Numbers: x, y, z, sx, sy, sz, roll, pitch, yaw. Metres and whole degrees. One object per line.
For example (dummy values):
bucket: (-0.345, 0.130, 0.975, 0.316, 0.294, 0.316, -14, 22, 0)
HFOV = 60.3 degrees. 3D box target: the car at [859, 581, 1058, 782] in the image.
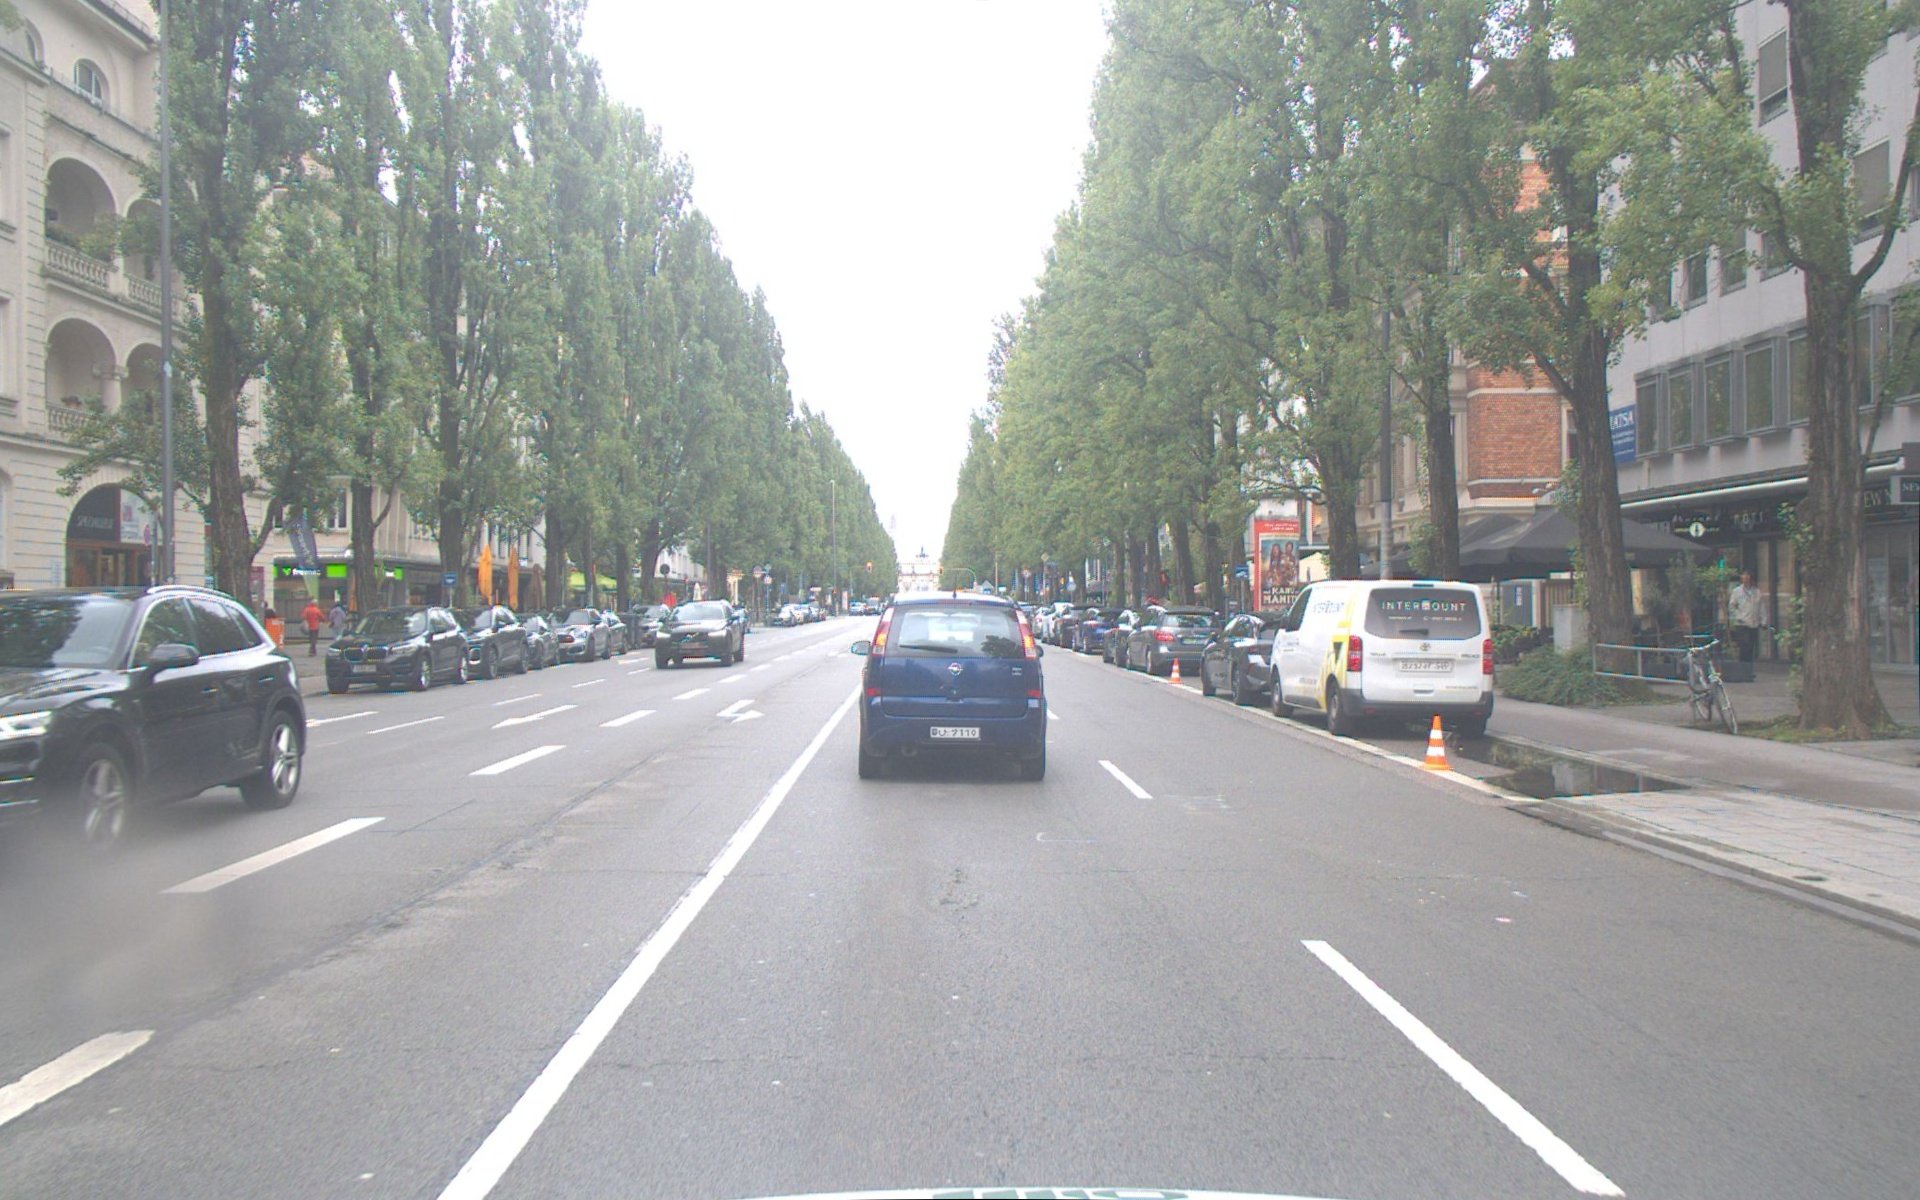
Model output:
car: (-0.086, 0.682, 15.814, 1.647, 1.670, 3.998, 0, 0, -2)

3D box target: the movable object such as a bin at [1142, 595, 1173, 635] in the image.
movable object such as a bin: (8.575, 0.642, 71.993, 1.013, 1.733, 1.585, -1, 0, -5)

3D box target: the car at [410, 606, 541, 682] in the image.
car: (-11.304, 0.986, 38.879, 1.766, 1.622, 4.629, -1, 0, -1)

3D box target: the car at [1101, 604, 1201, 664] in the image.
car: (4.914, 0.852, 43.208, 1.841, 1.457, 4.802, -1, 0, -3)

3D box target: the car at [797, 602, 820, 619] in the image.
car: (-14.033, 0.949, 153.206, 1.922, 1.576, 3.777, -1, 0, -2)

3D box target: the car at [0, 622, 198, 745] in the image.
car: (-11.359, 0.972, 20.573, 1.840, 1.321, 4.095, -1, 0, 0)

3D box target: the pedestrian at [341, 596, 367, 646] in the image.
pedestrian: (-21.381, 0.746, 58.352, 0.612, 1.752, 0.826, -1, 0, -2)

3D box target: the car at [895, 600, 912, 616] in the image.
car: (-6.372, 0.893, 186.812, 1.798, 1.792, 3.777, -1, 0, -2)

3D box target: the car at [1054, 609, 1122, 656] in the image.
car: (4.612, 1.150, 60.144, 1.953, 1.592, 4.482, -1, 0, -2)

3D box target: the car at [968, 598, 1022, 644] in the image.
car: (1.259, 0.746, 60.473, 1.672, 1.601, 3.997, -1, 0, -3)

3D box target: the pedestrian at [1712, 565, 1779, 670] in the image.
pedestrian: (14.351, 0.314, 30.244, 0.809, 1.873, 1.100, -1, 0, 9)

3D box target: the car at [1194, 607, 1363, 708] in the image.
car: (5.115, 0.876, 27.108, 1.685, 1.467, 4.351, 2, 0, -3)

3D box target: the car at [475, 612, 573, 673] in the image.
car: (-11.528, 1.086, 43.996, 1.651, 1.449, 4.683, -3, 0, -5)

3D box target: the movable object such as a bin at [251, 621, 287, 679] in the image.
movable object such as a bin: (-16.272, 1.165, 38.974, 0.592, 1.339, 0.586, 0, 0, -1)

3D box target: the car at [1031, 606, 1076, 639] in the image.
car: (4.276, 1.011, 76.006, 1.637, 1.431, 4.125, 1, 0, -2)

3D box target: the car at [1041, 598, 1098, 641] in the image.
car: (4.310, 0.757, 65.699, 1.790, 1.649, 4.745, 1, 0, -2)

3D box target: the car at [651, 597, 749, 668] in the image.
car: (-6.614, 0.804, 42.551, 1.896, 1.651, 4.335, -2, 0, -2)

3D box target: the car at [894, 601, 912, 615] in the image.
car: (-6.207, 0.887, 180.289, 1.922, 1.424, 3.777, -1, 0, -2)

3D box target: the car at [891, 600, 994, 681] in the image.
car: (-0.405, 0.780, 33.615, 1.953, 1.524, 3.998, -1, 0, -2)

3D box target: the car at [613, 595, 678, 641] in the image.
car: (-12.542, 0.707, 66.129, 1.827, 1.683, 4.613, -3, 0, -2)

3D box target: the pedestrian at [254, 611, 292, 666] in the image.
pedestrian: (-19.821, 1.108, 47.716, 0.753, 1.564, 0.804, 1, -1, -2)

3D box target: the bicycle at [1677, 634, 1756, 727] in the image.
bicycle: (9.230, 0.962, 20.227, 0.357, 1.056, 1.732, 0, 0, 6)

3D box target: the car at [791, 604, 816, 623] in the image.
car: (-13.582, 1.147, 143.961, 1.922, 1.557, 3.998, -1, 0, -3)

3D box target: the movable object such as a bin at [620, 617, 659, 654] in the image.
movable object such as a bin: (-11.746, 1.301, 60.605, 1.251, 1.333, 0.901, 1, 0, -1)

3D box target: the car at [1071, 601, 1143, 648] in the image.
car: (4.714, 0.761, 53.508, 1.715, 1.430, 4.461, -1, 0, -3)

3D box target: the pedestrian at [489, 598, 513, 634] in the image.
pedestrian: (-22.628, 0.770, 81.571, 0.834, 1.775, 1.148, -1, 0, -1)

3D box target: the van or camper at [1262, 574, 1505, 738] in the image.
van or camper: (5.395, 0.659, 21.752, 1.831, 1.916, 4.901, 0, 0, -2)

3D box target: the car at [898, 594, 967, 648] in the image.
car: (-0.856, 0.599, 49.105, 1.953, 1.524, 3.998, -1, 0, -2)

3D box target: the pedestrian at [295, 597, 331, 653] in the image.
pedestrian: (-19.765, 0.760, 50.535, 0.719, 1.702, 0.952, -1, 0, -2)

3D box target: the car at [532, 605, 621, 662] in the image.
car: (-11.358, 0.956, 49.230, 1.746, 1.603, 4.131, -1, 0, -2)

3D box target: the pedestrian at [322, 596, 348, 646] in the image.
pedestrian: (-22.021, 0.741, 58.307, 0.612, 1.752, 0.826, -1, 0, -2)

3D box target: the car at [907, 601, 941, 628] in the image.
car: (-2.116, 0.813, 96.313, 1.953, 1.524, 3.998, -1, 0, -2)

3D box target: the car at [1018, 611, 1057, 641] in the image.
car: (3.889, 1.304, 83.070, 1.648, 1.439, 3.581, 1, 0, -2)

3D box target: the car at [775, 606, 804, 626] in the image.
car: (-12.419, 1.138, 120.687, 1.793, 1.445, 3.810, 0, 0, -2)

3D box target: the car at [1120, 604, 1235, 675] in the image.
car: (4.933, 0.864, 38.101, 1.781, 1.532, 4.228, -1, 0, -5)

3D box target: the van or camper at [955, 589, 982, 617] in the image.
van or camper: (0.747, 0.307, 158.128, 2.426, 2.626, 5.843, -1, 0, -1)

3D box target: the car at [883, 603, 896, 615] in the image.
car: (-9.853, 1.233, 232.144, 1.798, 1.706, 3.777, -1, 0, -2)

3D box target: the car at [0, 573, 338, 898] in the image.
car: (-5.882, 0.699, 10.955, 1.874, 1.710, 4.585, -1, 1, -2)

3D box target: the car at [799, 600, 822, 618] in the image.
car: (-14.480, 0.896, 160.017, 1.953, 1.691, 3.998, -1, 0, -2)

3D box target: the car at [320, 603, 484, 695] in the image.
car: (-11.273, 0.936, 33.771, 1.783, 1.646, 4.715, -1, 0, -1)
